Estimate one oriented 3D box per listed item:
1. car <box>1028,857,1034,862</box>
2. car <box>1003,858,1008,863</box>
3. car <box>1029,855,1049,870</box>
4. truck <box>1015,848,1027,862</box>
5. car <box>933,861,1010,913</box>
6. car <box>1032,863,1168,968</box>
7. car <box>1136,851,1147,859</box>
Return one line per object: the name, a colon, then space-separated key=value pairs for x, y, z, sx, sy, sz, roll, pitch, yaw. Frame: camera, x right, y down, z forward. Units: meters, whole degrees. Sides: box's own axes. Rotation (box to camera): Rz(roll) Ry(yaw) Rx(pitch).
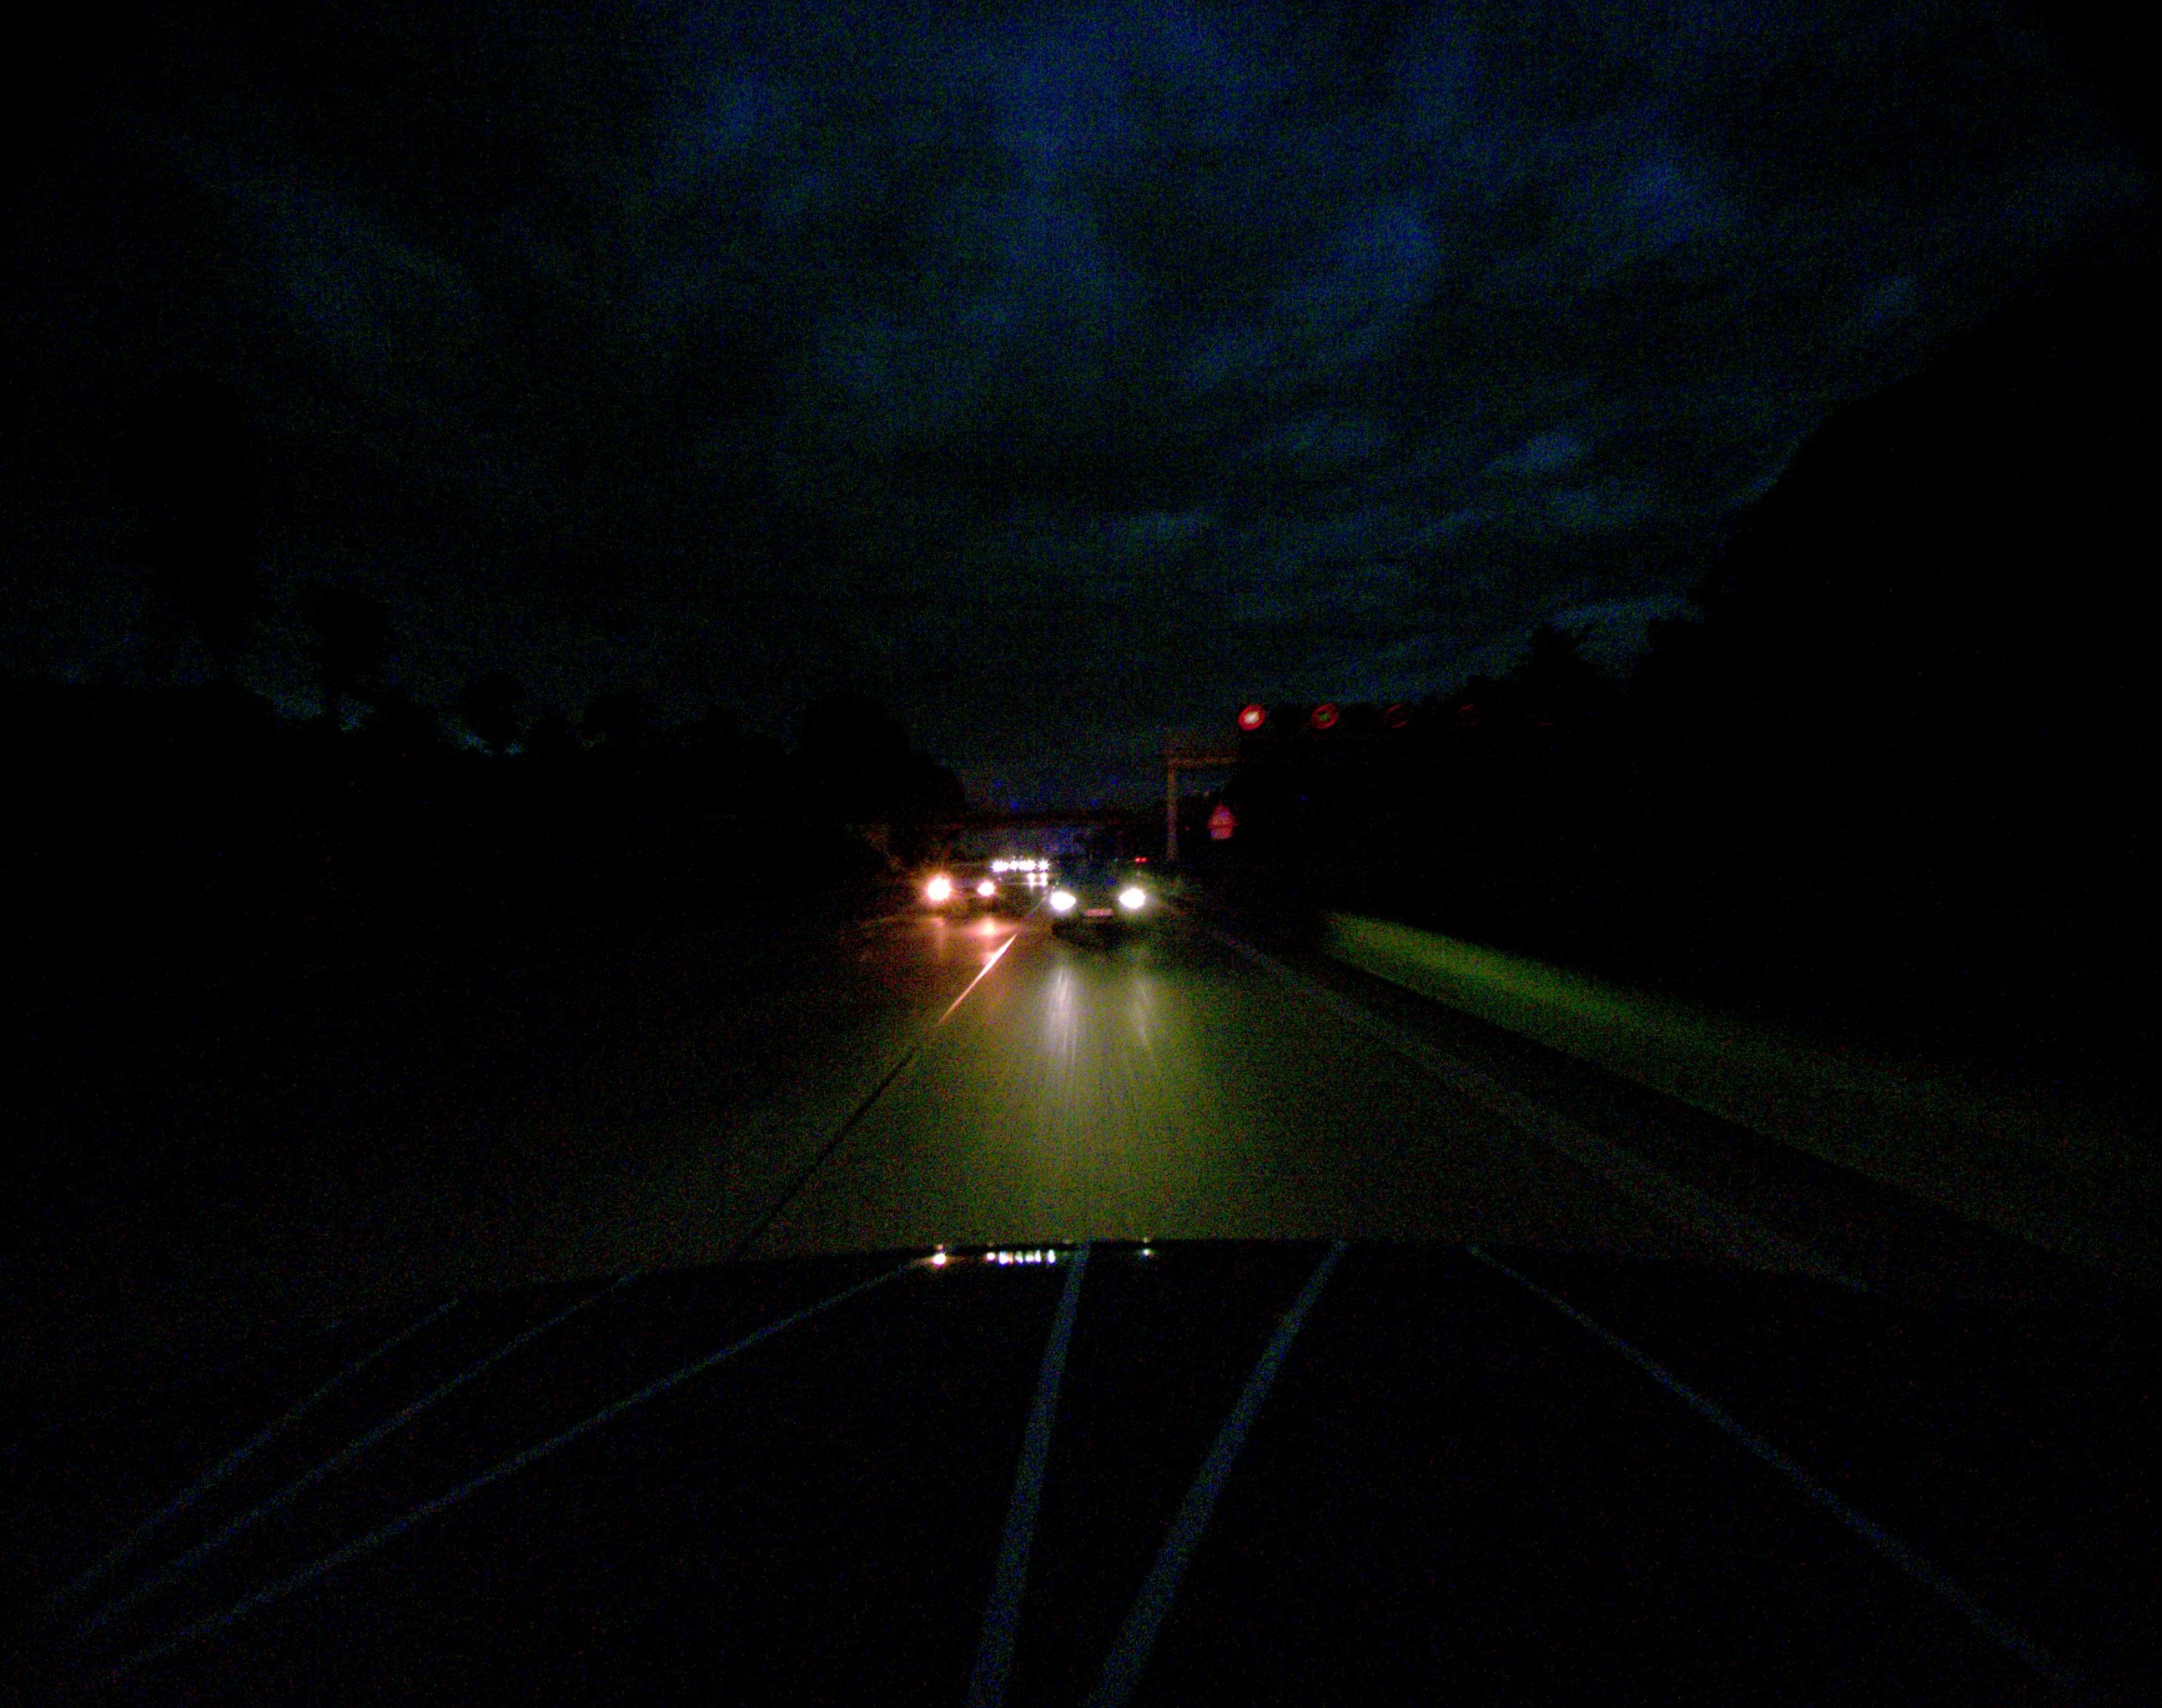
car: x=-16.271 y=1.807 z=247.369 sx=1.820 sy=1.372 sz=4.196 roll=-2 pitch=0 yaw=-6
car: x=-25.283 y=2.236 z=255.024 sx=1.820 sy=1.372 sz=4.041 roll=-2 pitch=0 yaw=-6
car: x=-4.682 y=0.946 z=84.302 sx=1.999 sy=1.539 sz=4.000 roll=-2 pitch=-1 yaw=-1
truck: x=-18.019 y=0.244 z=228.837 sx=3.147 sy=3.987 sz=10.539 roll=-2 pitch=-1 yaw=-6
car: x=-3.483 y=0.985 z=25.050 sx=1.814 sy=1.457 sz=5.131 roll=-2 pitch=0 yaw=-1
car: x=0.310 y=0.900 z=12.962 sx=1.879 sy=1.435 sz=4.452 roll=-2 pitch=-1 yaw=1
car: x=12.220 y=0.188 z=154.041 sx=1.816 sy=1.511 sz=4.429 roll=-2 pitch=-1 yaw=-2
